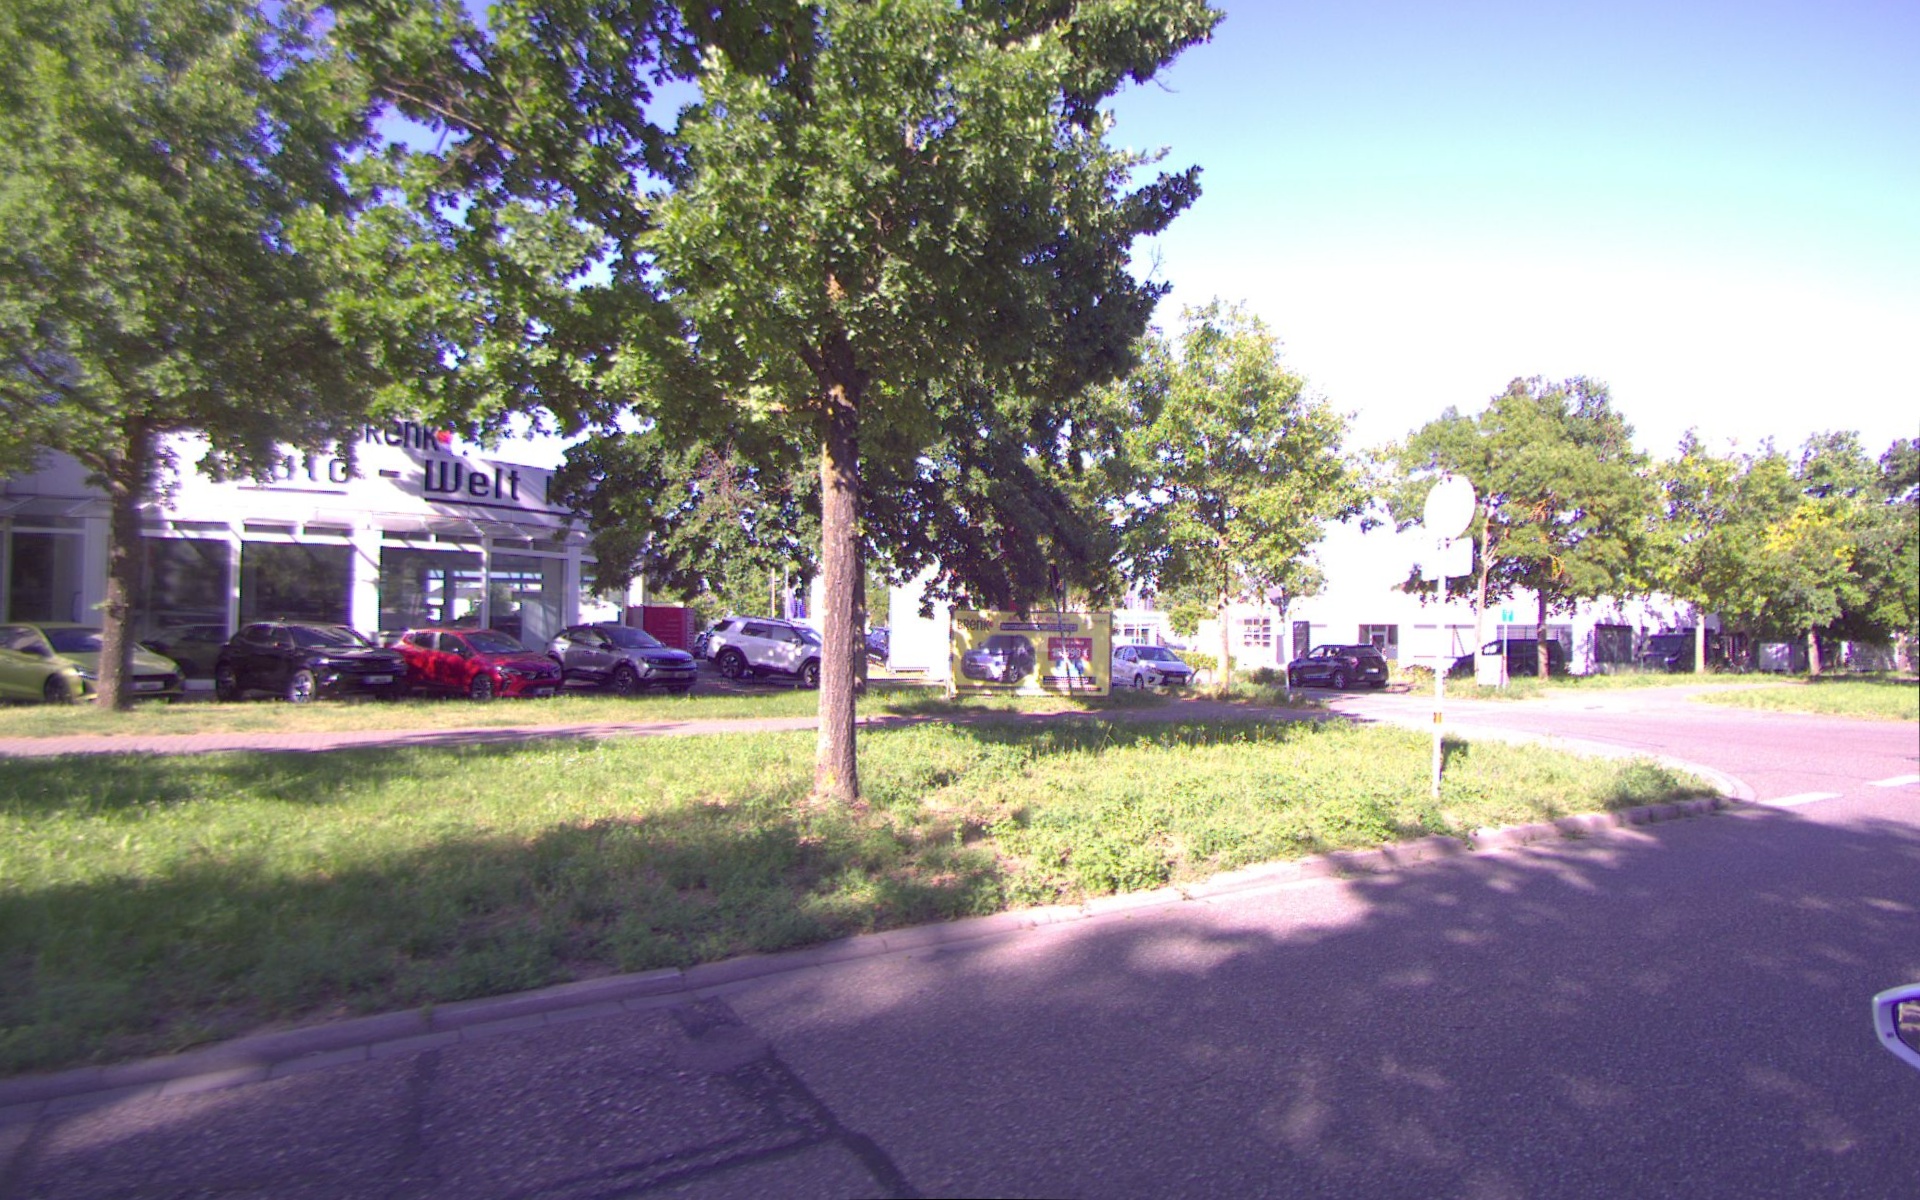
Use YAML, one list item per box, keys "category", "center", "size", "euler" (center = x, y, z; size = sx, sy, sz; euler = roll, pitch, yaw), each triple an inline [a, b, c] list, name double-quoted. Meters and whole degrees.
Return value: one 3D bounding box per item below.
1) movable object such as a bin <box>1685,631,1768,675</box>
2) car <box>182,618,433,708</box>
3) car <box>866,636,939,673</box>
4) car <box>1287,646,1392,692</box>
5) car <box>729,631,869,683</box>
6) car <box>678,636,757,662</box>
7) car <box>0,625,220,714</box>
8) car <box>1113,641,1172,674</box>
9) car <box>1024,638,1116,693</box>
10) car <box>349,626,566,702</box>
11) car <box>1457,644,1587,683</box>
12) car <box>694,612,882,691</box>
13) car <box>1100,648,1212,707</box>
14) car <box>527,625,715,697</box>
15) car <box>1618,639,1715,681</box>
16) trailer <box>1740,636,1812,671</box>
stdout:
- category: "movable object such as a bin"
  center: [41.001, 2.826, 53.719]
  size: [4.410, 2.246, 2.091]
  euler: [2, -2, -32]
- category: "car"
  center: [-12.456, 1.162, 19.226]
  size: [4.087, 1.558, 1.897]
  euler: [0, -2, 19]
- category: "car"
  center: [-2.680, 2.436, 45.749]
  size: [1.970, 1.582, 4.850]
  euler: [1, -2, -20]
- category: "car"
  center: [13.838, 2.505, 36.815]
  size: [1.792, 1.553, 3.670]
  euler: [1, -2, -15]
- category: "car"
  center: [-5.135, 1.804, 31.988]
  size: [4.106, 1.591, 1.992]
  euler: [1, -2, -20]
- category: "car"
  center: [-15.749, 3.178, 65.111]
  size: [4.797, 1.582, 1.992]
  euler: [2, -2, -20]
- category: "car"
  center: [-15.472, 1.170, 17.731]
  size: [3.875, 1.420, 2.001]
  euler: [0, -2, 19]
- category: "car"
  center: [9.499, 2.963, 52.485]
  size: [1.769, 1.597, 3.993]
  euler: [0, -1, -10]
- category: "car"
  center: [4.032, 2.404, 37.756]
  size: [1.908, 1.931, 5.014]
  euler: [1, -2, -13]
- category: "car"
  center: [-10.914, 1.345, 21.863]
  size: [4.089, 1.510, 2.000]
  euler: [0, -2, 22]
- category: "car"
  center: [23.401, 2.629, 42.023]
  size: [1.915, 1.498, 4.488]
  euler: [2, -2, -25]
- category: "car"
  center: [-4.766, 1.390, 27.912]
  size: [4.762, 2.040, 2.001]
  euler: [0, -2, 19]
- category: "car"
  center: [6.013, 2.354, 31.230]
  size: [1.931, 1.639, 3.742]
  euler: [1, -2, -16]
- category: "car"
  center: [-8.093, 1.404, 23.935]
  size: [4.095, 1.582, 1.997]
  euler: [0, -2, 29]
- category: "car"
  center: [35.584, 2.994, 50.571]
  size: [5.744, 2.014, 2.024]
  euler: [2, -3, -33]
- category: "trailer"
  center: [46.859, 3.036, 57.662]
  size: [3.698, 1.939, 2.092]
  euler: [2, -2, -32]
